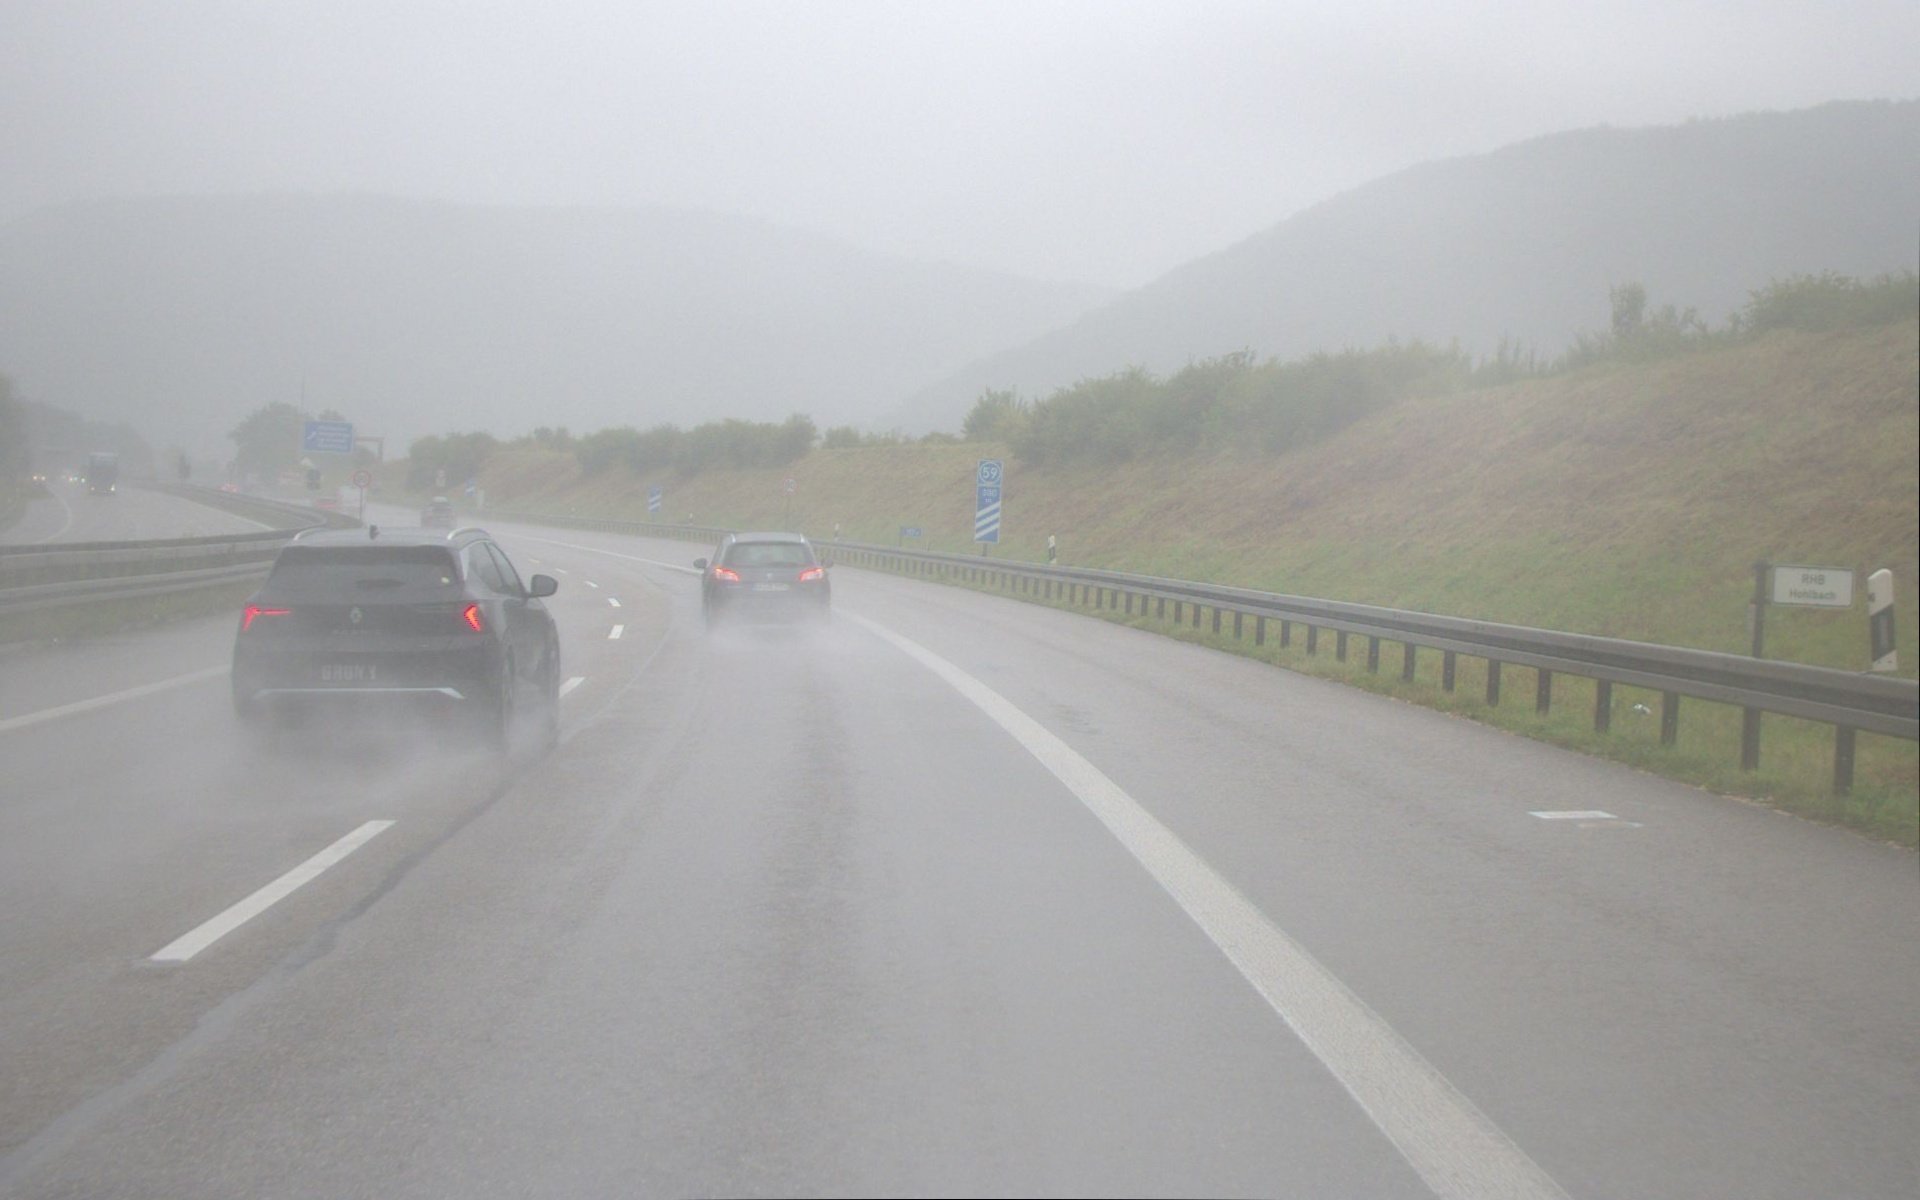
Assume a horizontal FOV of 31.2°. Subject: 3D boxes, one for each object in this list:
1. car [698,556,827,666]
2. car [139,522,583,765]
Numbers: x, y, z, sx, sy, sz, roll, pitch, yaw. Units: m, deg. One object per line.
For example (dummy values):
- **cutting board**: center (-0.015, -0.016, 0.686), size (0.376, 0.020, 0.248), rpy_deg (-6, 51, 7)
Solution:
- **car**: center (-2.878, 0.128, 49.552), size (1.679, 1.467, 3.815), rpy_deg (2, 1, -5)
- **car**: center (-4.150, 0.263, 24.724), size (2.406, 1.510, 4.784), rpy_deg (2, 0, -1)
